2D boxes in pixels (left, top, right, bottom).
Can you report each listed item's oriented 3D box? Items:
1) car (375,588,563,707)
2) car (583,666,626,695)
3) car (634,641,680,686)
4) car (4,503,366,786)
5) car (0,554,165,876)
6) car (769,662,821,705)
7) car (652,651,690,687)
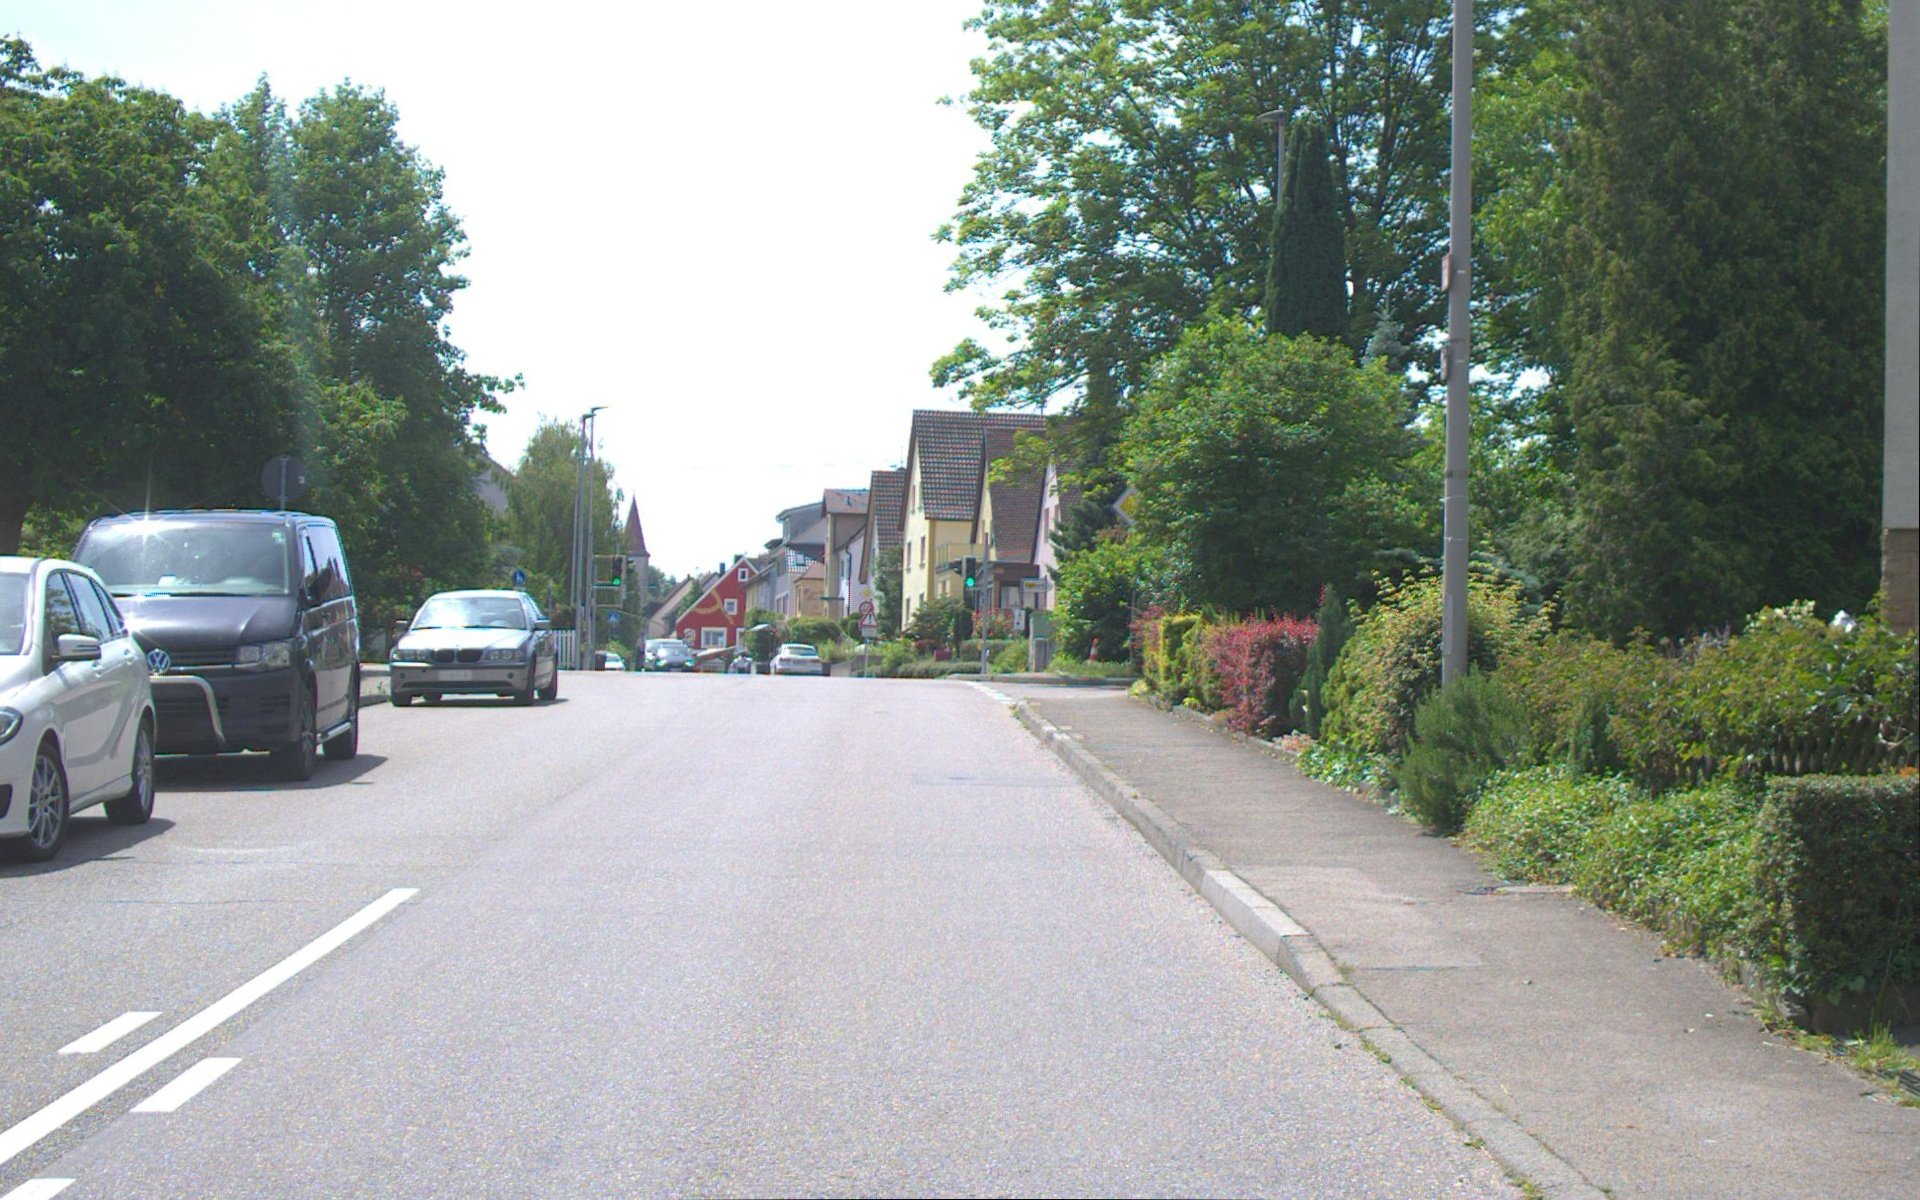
[{"bbox_3d":[-6.048,0.600,42.778,1.780,1.390,4.409,0,-1,-1],"label":"car"},{"bbox_3d":[-19.682,4.476,190.360,2.110,1.555,4.314,1,-2,-3],"label":"car"},{"bbox_3d":[-14.486,3.012,164.133,1.879,1.958,4.904,2,0,-8],"label":"car"},{"bbox_3d":[-5.656,0.298,25.669,1.896,1.914,4.871,0,0,-4],"label":"car"},{"bbox_3d":[-5.587,0.528,18.538,1.811,1.544,4.243,1,0,-3],"label":"car"},{"bbox_3d":[-6.402,3.233,133.571,1.993,1.598,4.000,1,0,-2],"label":"car"},{"bbox_3d":[-12.911,3.081,153.341,1.534,1.536,4.305,2,-1,-6],"label":"car"}]
